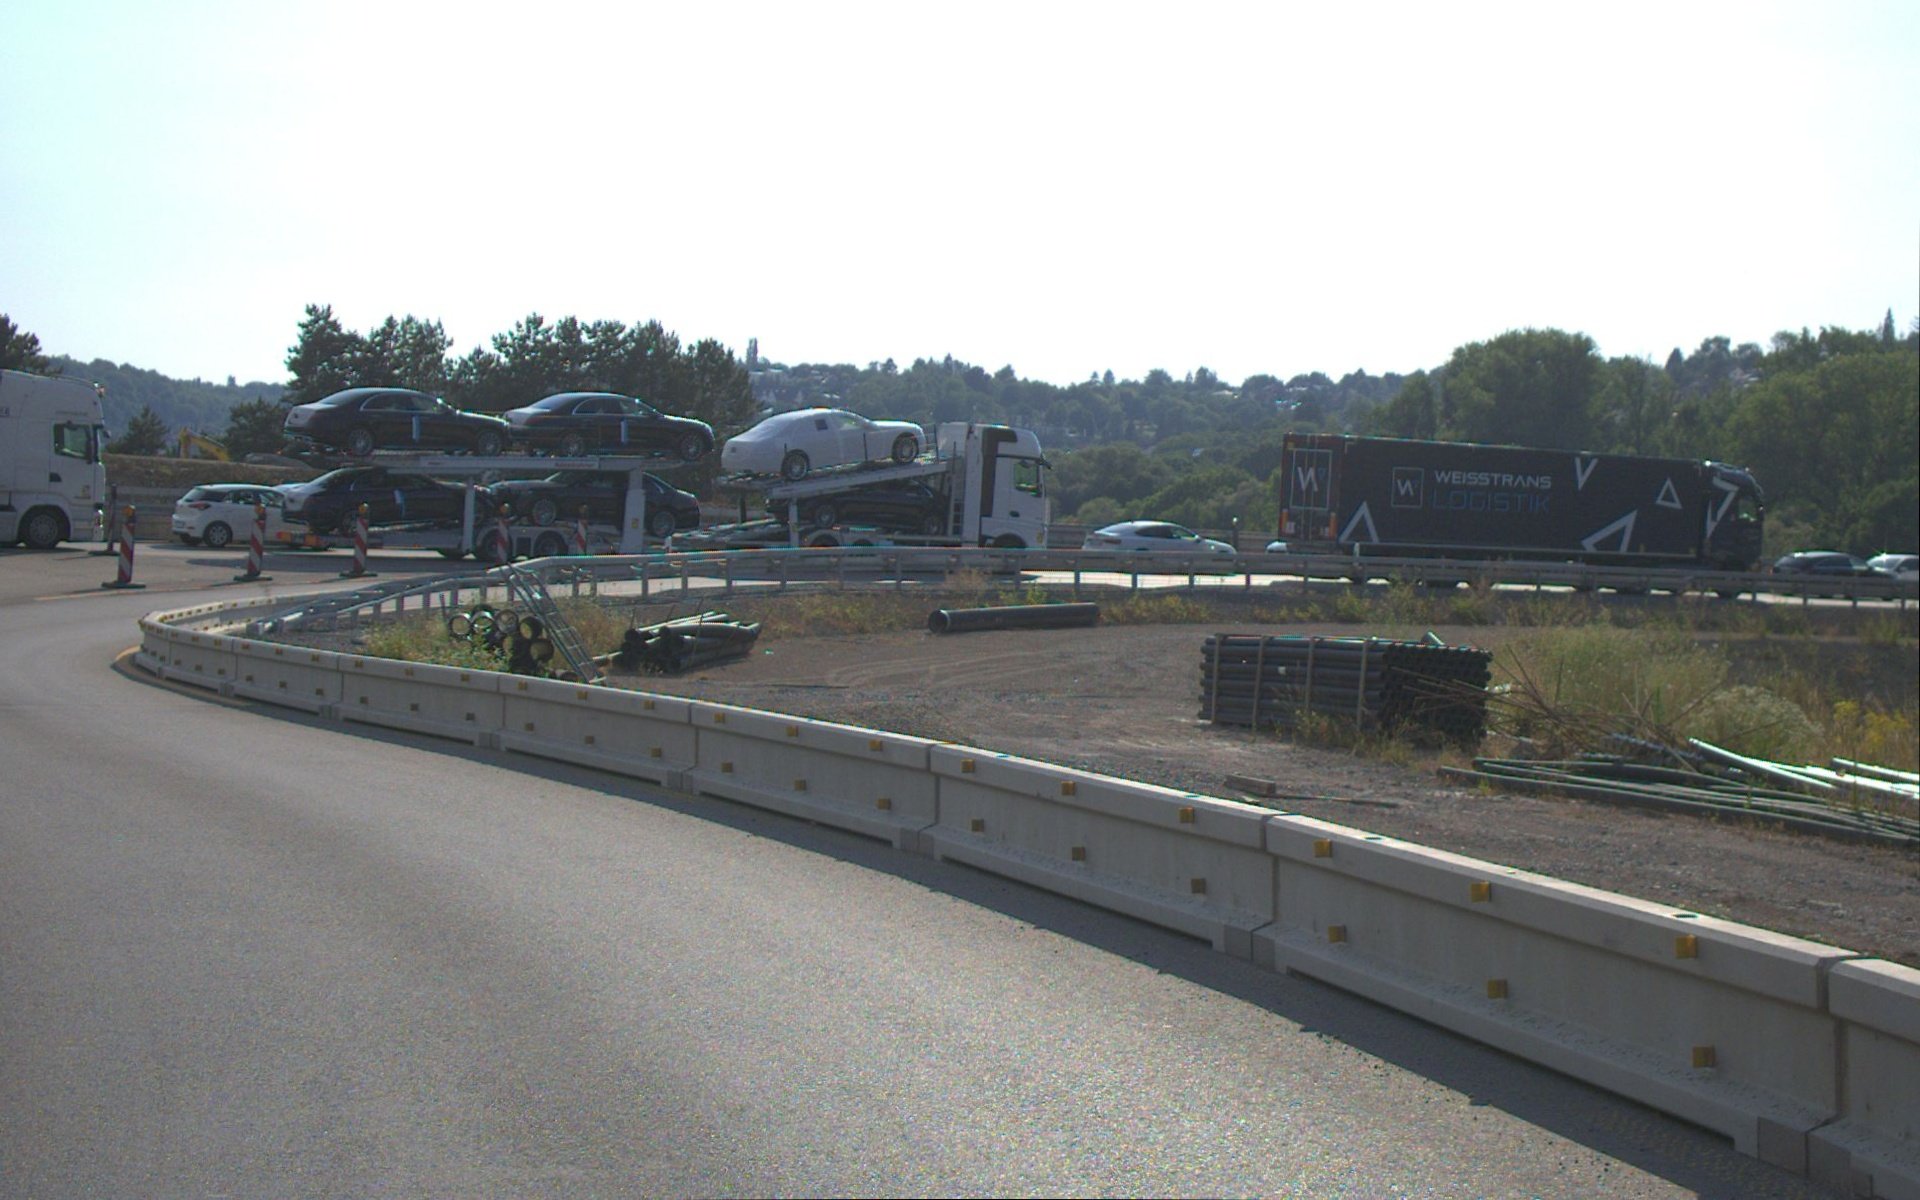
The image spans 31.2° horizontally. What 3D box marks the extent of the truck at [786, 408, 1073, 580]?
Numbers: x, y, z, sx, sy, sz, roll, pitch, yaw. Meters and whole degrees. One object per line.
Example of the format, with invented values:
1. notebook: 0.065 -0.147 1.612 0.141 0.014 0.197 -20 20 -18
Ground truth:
1. truck: -0.739 -2.665 86.940 6.603 3.983 2.858 2 1 -34

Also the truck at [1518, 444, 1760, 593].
1. truck: 19.891 -2.373 100.648 6.602 3.983 2.895 2 1 -33

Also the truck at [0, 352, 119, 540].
1. truck: -21.349 -3.376 73.267 5.992 3.865 2.488 2 2 -34

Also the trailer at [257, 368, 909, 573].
1. trailer: -8.643 -2.957 81.578 15.695 3.983 2.866 2 1 -34

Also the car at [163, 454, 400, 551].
1. car: -15.914 -2.282 80.710 4.963 1.974 2.035 2 4 -33

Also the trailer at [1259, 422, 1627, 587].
1. trailer: 13.672 -2.638 96.643 10.757 4.078 2.968 2 1 -33

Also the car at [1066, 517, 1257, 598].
1. car: 5.618 -1.166 95.817 4.963 1.974 2.035 2 4 -33

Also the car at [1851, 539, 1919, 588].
1. car: 32.488 -1.219 117.086 4.224 1.495 1.662 2 4 -33
